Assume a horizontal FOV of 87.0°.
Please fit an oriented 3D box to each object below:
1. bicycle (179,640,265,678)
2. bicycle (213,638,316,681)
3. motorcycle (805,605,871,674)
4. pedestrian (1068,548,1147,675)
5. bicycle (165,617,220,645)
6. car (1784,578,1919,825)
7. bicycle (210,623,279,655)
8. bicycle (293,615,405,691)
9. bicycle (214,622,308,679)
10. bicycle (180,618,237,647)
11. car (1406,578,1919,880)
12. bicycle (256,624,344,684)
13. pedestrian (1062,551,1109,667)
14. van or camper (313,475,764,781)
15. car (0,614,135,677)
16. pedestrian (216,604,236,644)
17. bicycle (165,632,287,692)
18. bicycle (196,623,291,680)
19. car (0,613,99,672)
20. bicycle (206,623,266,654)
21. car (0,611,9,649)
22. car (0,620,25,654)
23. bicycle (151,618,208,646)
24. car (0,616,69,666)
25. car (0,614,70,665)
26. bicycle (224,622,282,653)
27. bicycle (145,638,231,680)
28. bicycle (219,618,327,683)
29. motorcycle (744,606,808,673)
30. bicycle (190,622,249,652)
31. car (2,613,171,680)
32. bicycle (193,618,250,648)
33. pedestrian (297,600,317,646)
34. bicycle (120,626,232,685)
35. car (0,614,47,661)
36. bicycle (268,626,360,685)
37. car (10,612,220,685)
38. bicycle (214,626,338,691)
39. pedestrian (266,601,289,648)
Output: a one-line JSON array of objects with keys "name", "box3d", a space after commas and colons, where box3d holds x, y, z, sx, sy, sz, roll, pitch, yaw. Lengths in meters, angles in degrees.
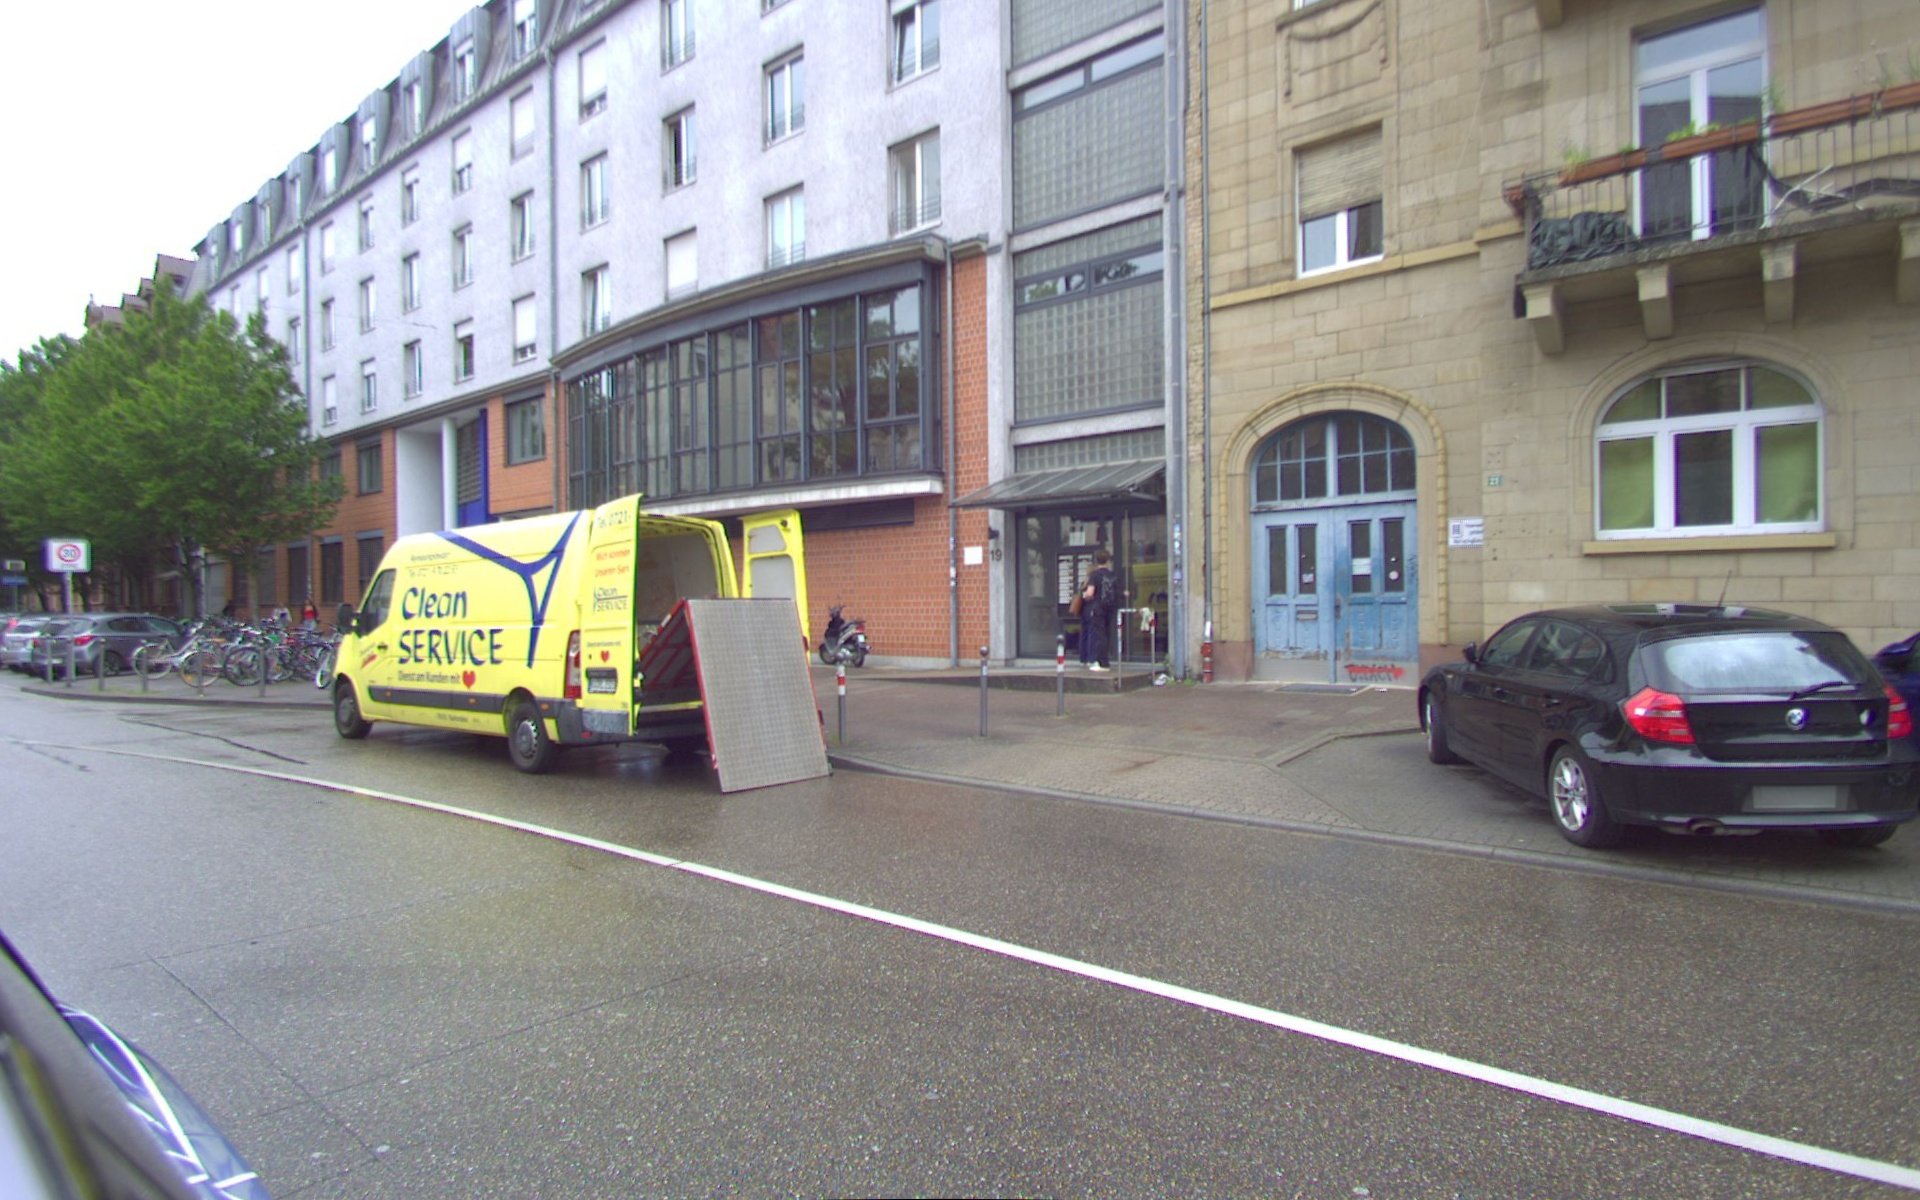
[{"name": "bicycle", "box3d": [-16.355, 1.287, 22.440, 0.497, 0.727, 1.454, -1, 1, 43]}, {"name": "bicycle", "box3d": [-14.505, 1.217, 21.156, 0.455, 0.767, 1.757, -1, 1, 27]}, {"name": "motorcycle", "box3d": [-2.245, 0.693, 18.476, 0.516, 1.190, 1.763, -1, 0, -30]}, {"name": "pedestrian", "box3d": [2.130, 0.163, 14.594, 0.785, 1.741, 0.997, -1, -1, 31]}, {"name": "bicycle", "box3d": [-28.840, 1.159, 38.045, 0.464, 0.992, 1.573, -1, -1, 32]}, {"name": "car", "box3d": [6.917, 0.638, 5.717, 1.780, 1.585, 4.029, -1, -1, 11]}, {"name": "bicycle", "box3d": [-23.389, 1.250, 33.117, 0.444, 0.992, 1.831, -1, -1, 32]}, {"name": "bicycle", "box3d": [-11.219, 0.946, 18.679, 0.760, 1.225, 1.917, 0, 3, 5]}, {"name": "bicycle", "box3d": [-14.938, 1.063, 21.669, 0.517, 1.114, 1.596, -1, 1, 27]}, {"name": "bicycle", "box3d": [-26.582, 1.146, 35.806, 0.464, 0.992, 1.573, -1, -1, 32]}, {"name": "car", "box3d": [4.739, 0.678, 7.169, 1.777, 1.523, 4.034, 0, -1, 7]}, {"name": "bicycle", "box3d": [-13.279, 1.064, 20.372, 1.439, 1.111, 0.462, -2, 1, -36]}, {"name": "pedestrian", "box3d": [1.933, 0.144, 15.670, 0.467, 1.761, 0.608, 0, -2, -24]}, {"name": "van or camper", "box3d": [-4.987, 0.299, 11.443, 5.936, 2.631, 2.174, -1, -2, 39]}, {"name": "car", "box3d": [-24.253, 1.185, 27.351, 1.432, 1.514, 3.078, -1, 0, 0]}, {"name": "pedestrian", "box3d": [-29.617, 0.968, 40.821, 0.533, 1.609, 0.564, -1, -1, 41]}, {"name": "bicycle", "box3d": [-13.795, 1.141, 19.064, 0.519, 1.000, 1.778, -1, 1, 38]}, {"name": "bicycle", "box3d": [-15.532, 1.096, 21.963, 0.519, 1.114, 1.591, -1, 1, 35]}, {"name": "car", "box3d": [-26.671, 1.189, 28.955, 1.432, 1.564, 3.078, -1, 0, 0]}, {"name": "bicycle", "box3d": [-23.829, 1.250, 33.328, 0.444, 0.992, 1.573, -1, -1, 32]}, {"name": "car", "box3d": [-48.720, 1.467, 48.829, 1.666, 1.910, 4.330, 0, -1, -1]}, {"name": "car", "box3d": [-43.505, 1.627, 44.543, 1.662, 1.502, 3.798, 0, -1, -10]}, {"name": "bicycle", "box3d": [-28.532, 1.151, 37.019, 0.464, 0.992, 1.573, -1, -1, 32]}, {"name": "car", "box3d": [-29.077, 1.253, 31.112, 1.177, 1.461, 2.502, -1, 0, 0]}, {"name": "car", "box3d": [-30.949, 1.284, 32.780, 1.358, 1.567, 2.971, -1, 0, 11]}, {"name": "bicycle", "box3d": [-23.846, 1.260, 34.154, 0.444, 0.992, 1.573, -1, -1, 32]}, {"name": "bicycle", "box3d": [-17.135, 1.293, 22.484, 0.497, 0.811, 1.454, -1, 1, 43]}, {"name": "bicycle", "box3d": [-14.068, 1.010, 20.768, 0.517, 1.203, 1.798, -1, 1, 27]}, {"name": "motorcycle", "box3d": [-3.529, 0.723, 19.301, 0.516, 1.190, 2.010, -1, 0, -30]}, {"name": "bicycle", "box3d": [-25.287, 1.253, 34.569, 0.444, 0.992, 1.573, -1, -1, 32]}, {"name": "car", "box3d": [-22.154, 1.143, 25.798, 1.436, 1.514, 3.070, -1, 0, 9]}, {"name": "bicycle", "box3d": [-25.624, 1.143, 35.136, 0.444, 0.992, 1.573, -1, -1, 32]}, {"name": "pedestrian", "box3d": [-23.246, 0.830, 36.008, 0.425, 1.622, 0.508, -1, -1, 41]}, {"name": "bicycle", "box3d": [-16.593, 1.152, 21.463, 0.472, 1.114, 1.791, -1, 1, 35]}, {"name": "car", "box3d": [-33.059, 1.303, 34.553, 1.138, 1.567, 2.672, -1, 0, 11]}, {"name": "bicycle", "box3d": [-12.679, 1.071, 19.883, 0.418, 1.072, 1.442, -1, 1, 44]}, {"name": "car", "box3d": [-19.854, 1.085, 23.990, 1.720, 1.514, 3.614, 0, 0, 9]}, {"name": "bicycle", "box3d": [-12.793, 1.071, 18.959, 1.832, 1.081, 0.610, -2, 1, -45]}, {"name": "pedestrian", "box3d": [-23.979, 0.851, 35.552, 0.372, 1.622, 0.598, -1, -1, 39]}]
